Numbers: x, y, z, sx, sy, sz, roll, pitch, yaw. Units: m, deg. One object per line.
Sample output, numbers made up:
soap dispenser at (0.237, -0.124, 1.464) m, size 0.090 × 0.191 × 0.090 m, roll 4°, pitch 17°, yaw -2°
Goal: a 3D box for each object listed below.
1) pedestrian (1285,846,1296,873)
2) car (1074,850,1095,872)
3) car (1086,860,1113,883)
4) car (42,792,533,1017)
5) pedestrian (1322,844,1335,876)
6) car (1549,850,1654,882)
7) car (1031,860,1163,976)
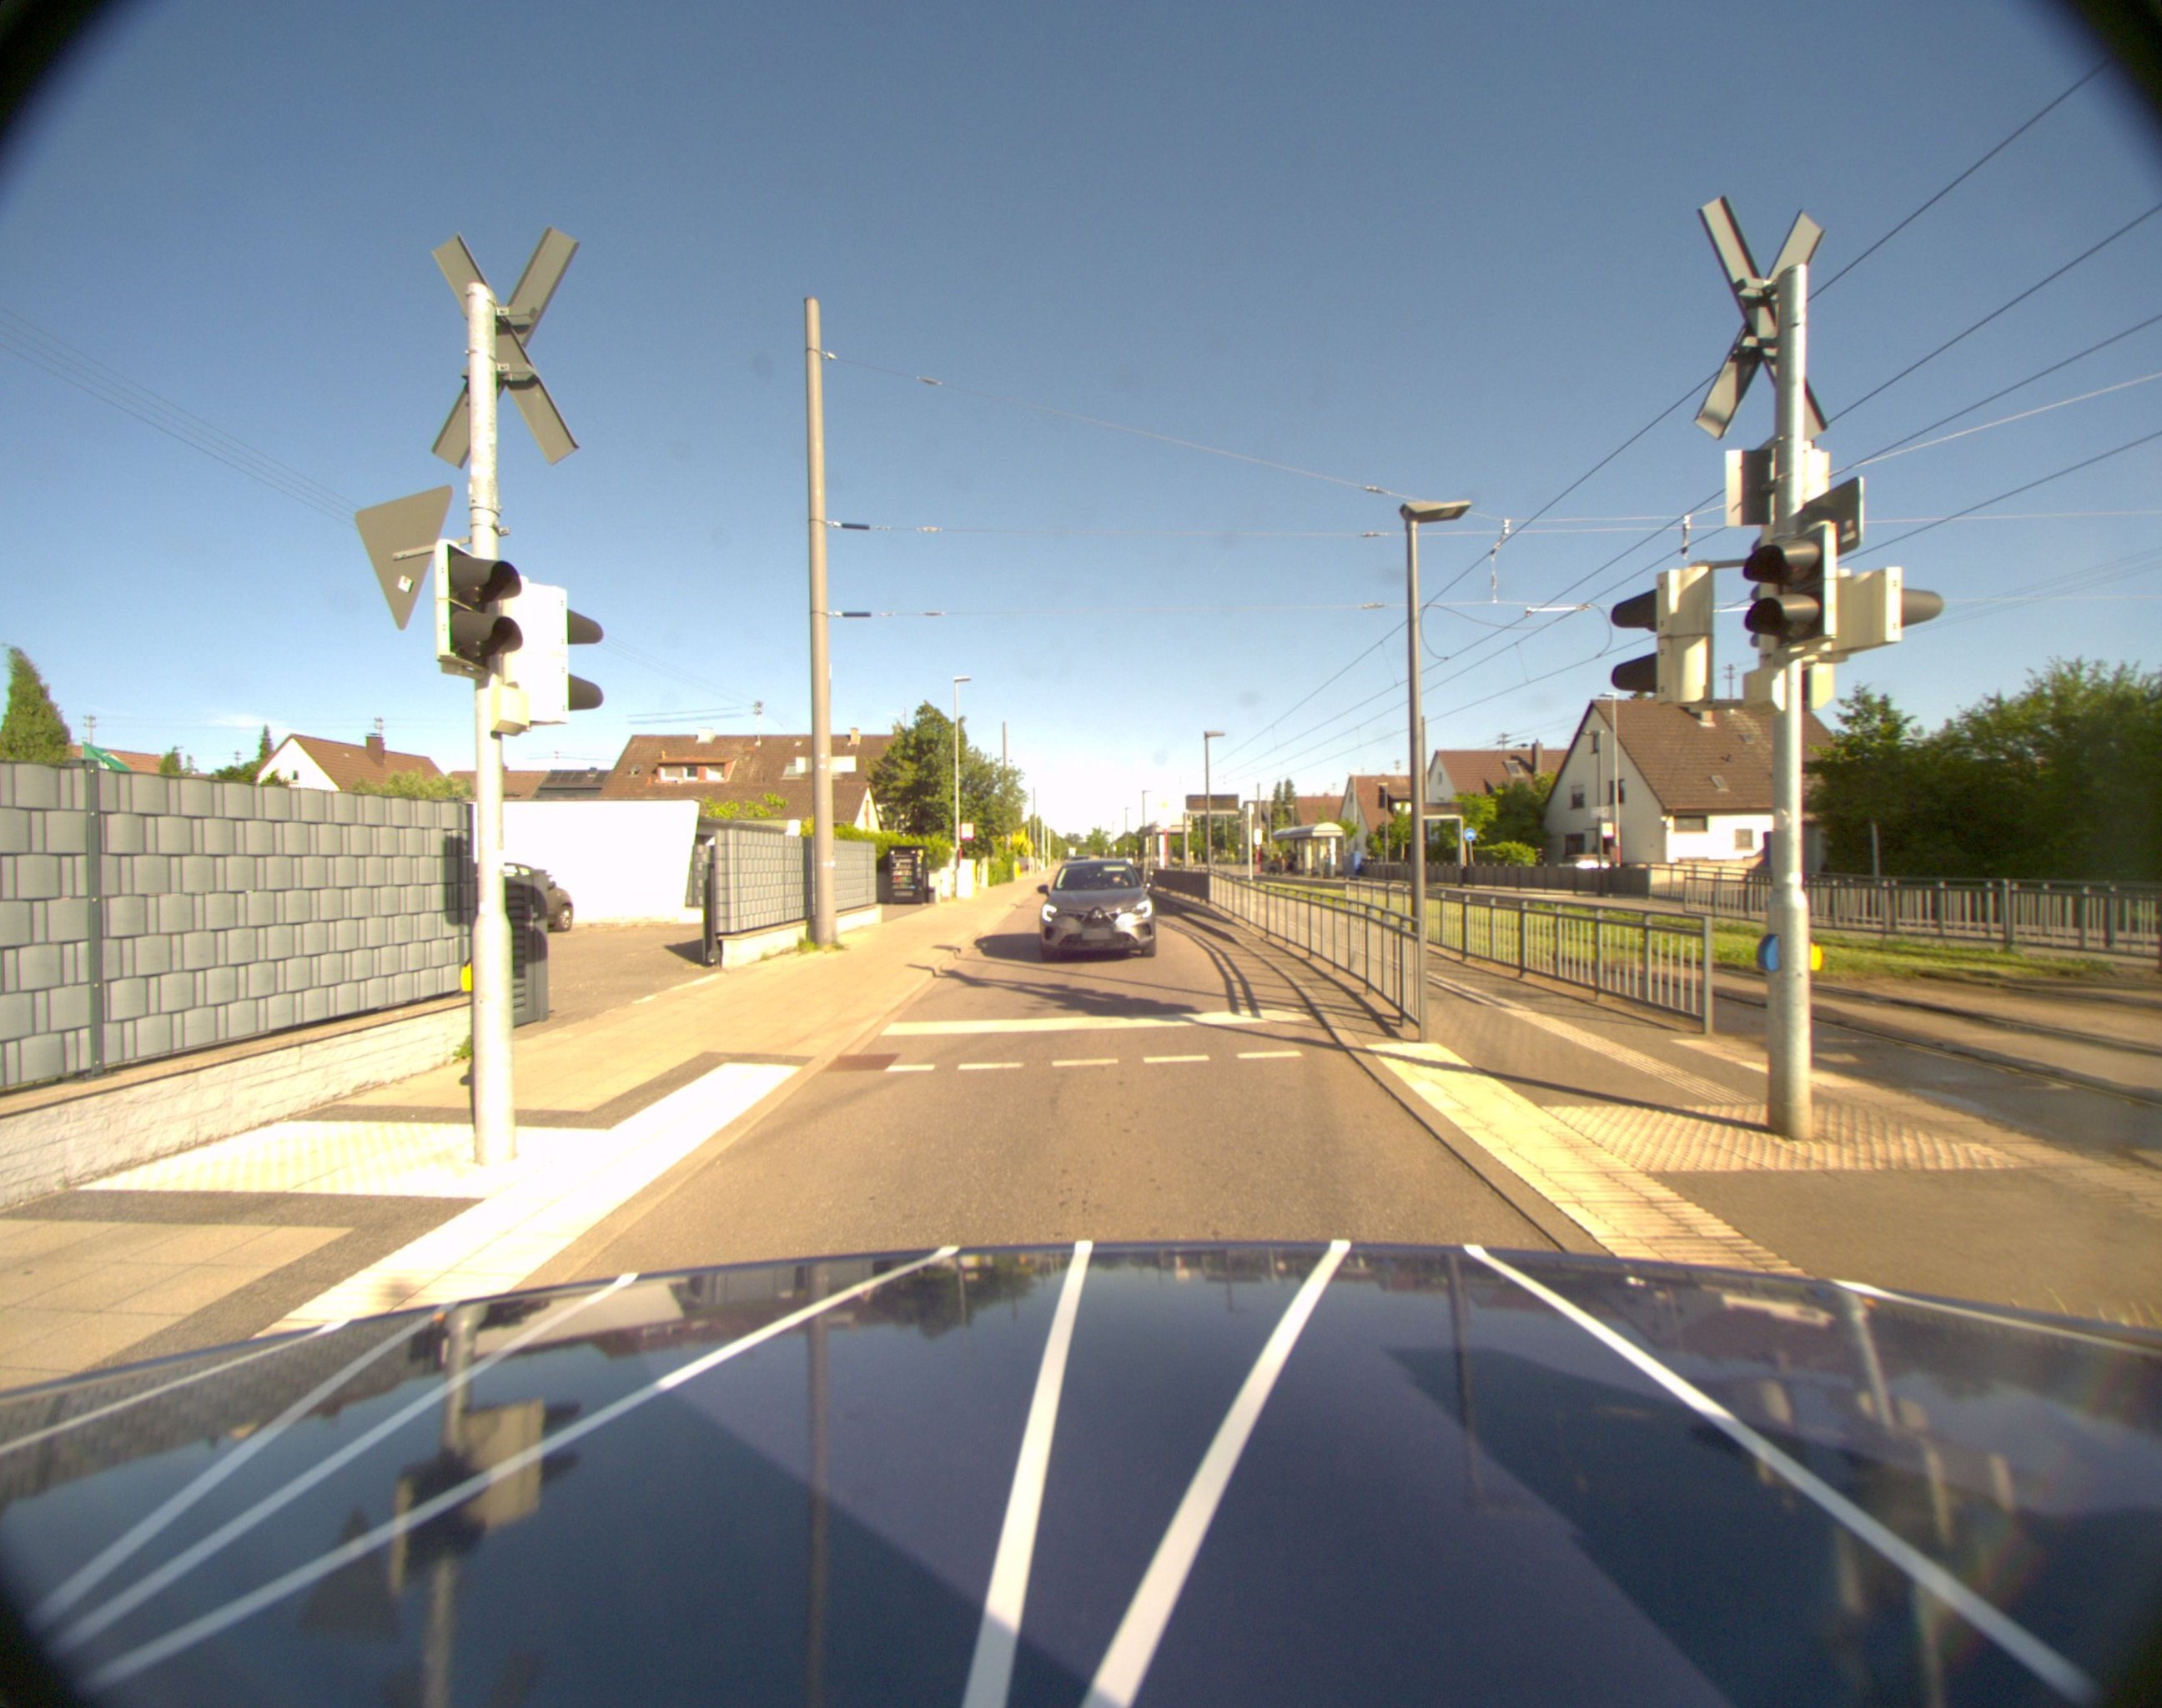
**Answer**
pedestrian at (13.565, 0.334, 49.183) m, size 0.534 × 1.742 × 0.543 m, roll -1°, pitch 0°, yaw 0°
car at (0.391, 0.743, 83.449) m, size 2.089 × 2.226 × 4.722 m, roll -2°, pitch 0°, yaw 1°
car at (1.223, 1.155, 50.649) m, size 1.687 × 1.379 × 4.000 m, roll -2°, pitch 0°, yaw 1°
car at (-9.978, 0.560, 9.687) m, size 4.983 × 2.418 × 2.002 m, roll -1°, pitch 2°, yaw 14°
pedestrian at (13.681, 0.310, 41.997) m, size 0.622 × 1.742 × 0.442 m, roll -1°, pitch 0°, yaw 20°
car at (26.458, 0.580, 38.695) m, size 3.989 × 1.526 × 2.000 m, roll -1°, pitch 0°, yaw -3°
car at (0.315, 0.937, 12.949) m, size 1.829 × 1.570 × 4.001 m, roll -3°, pitch 0°, yaw 2°
